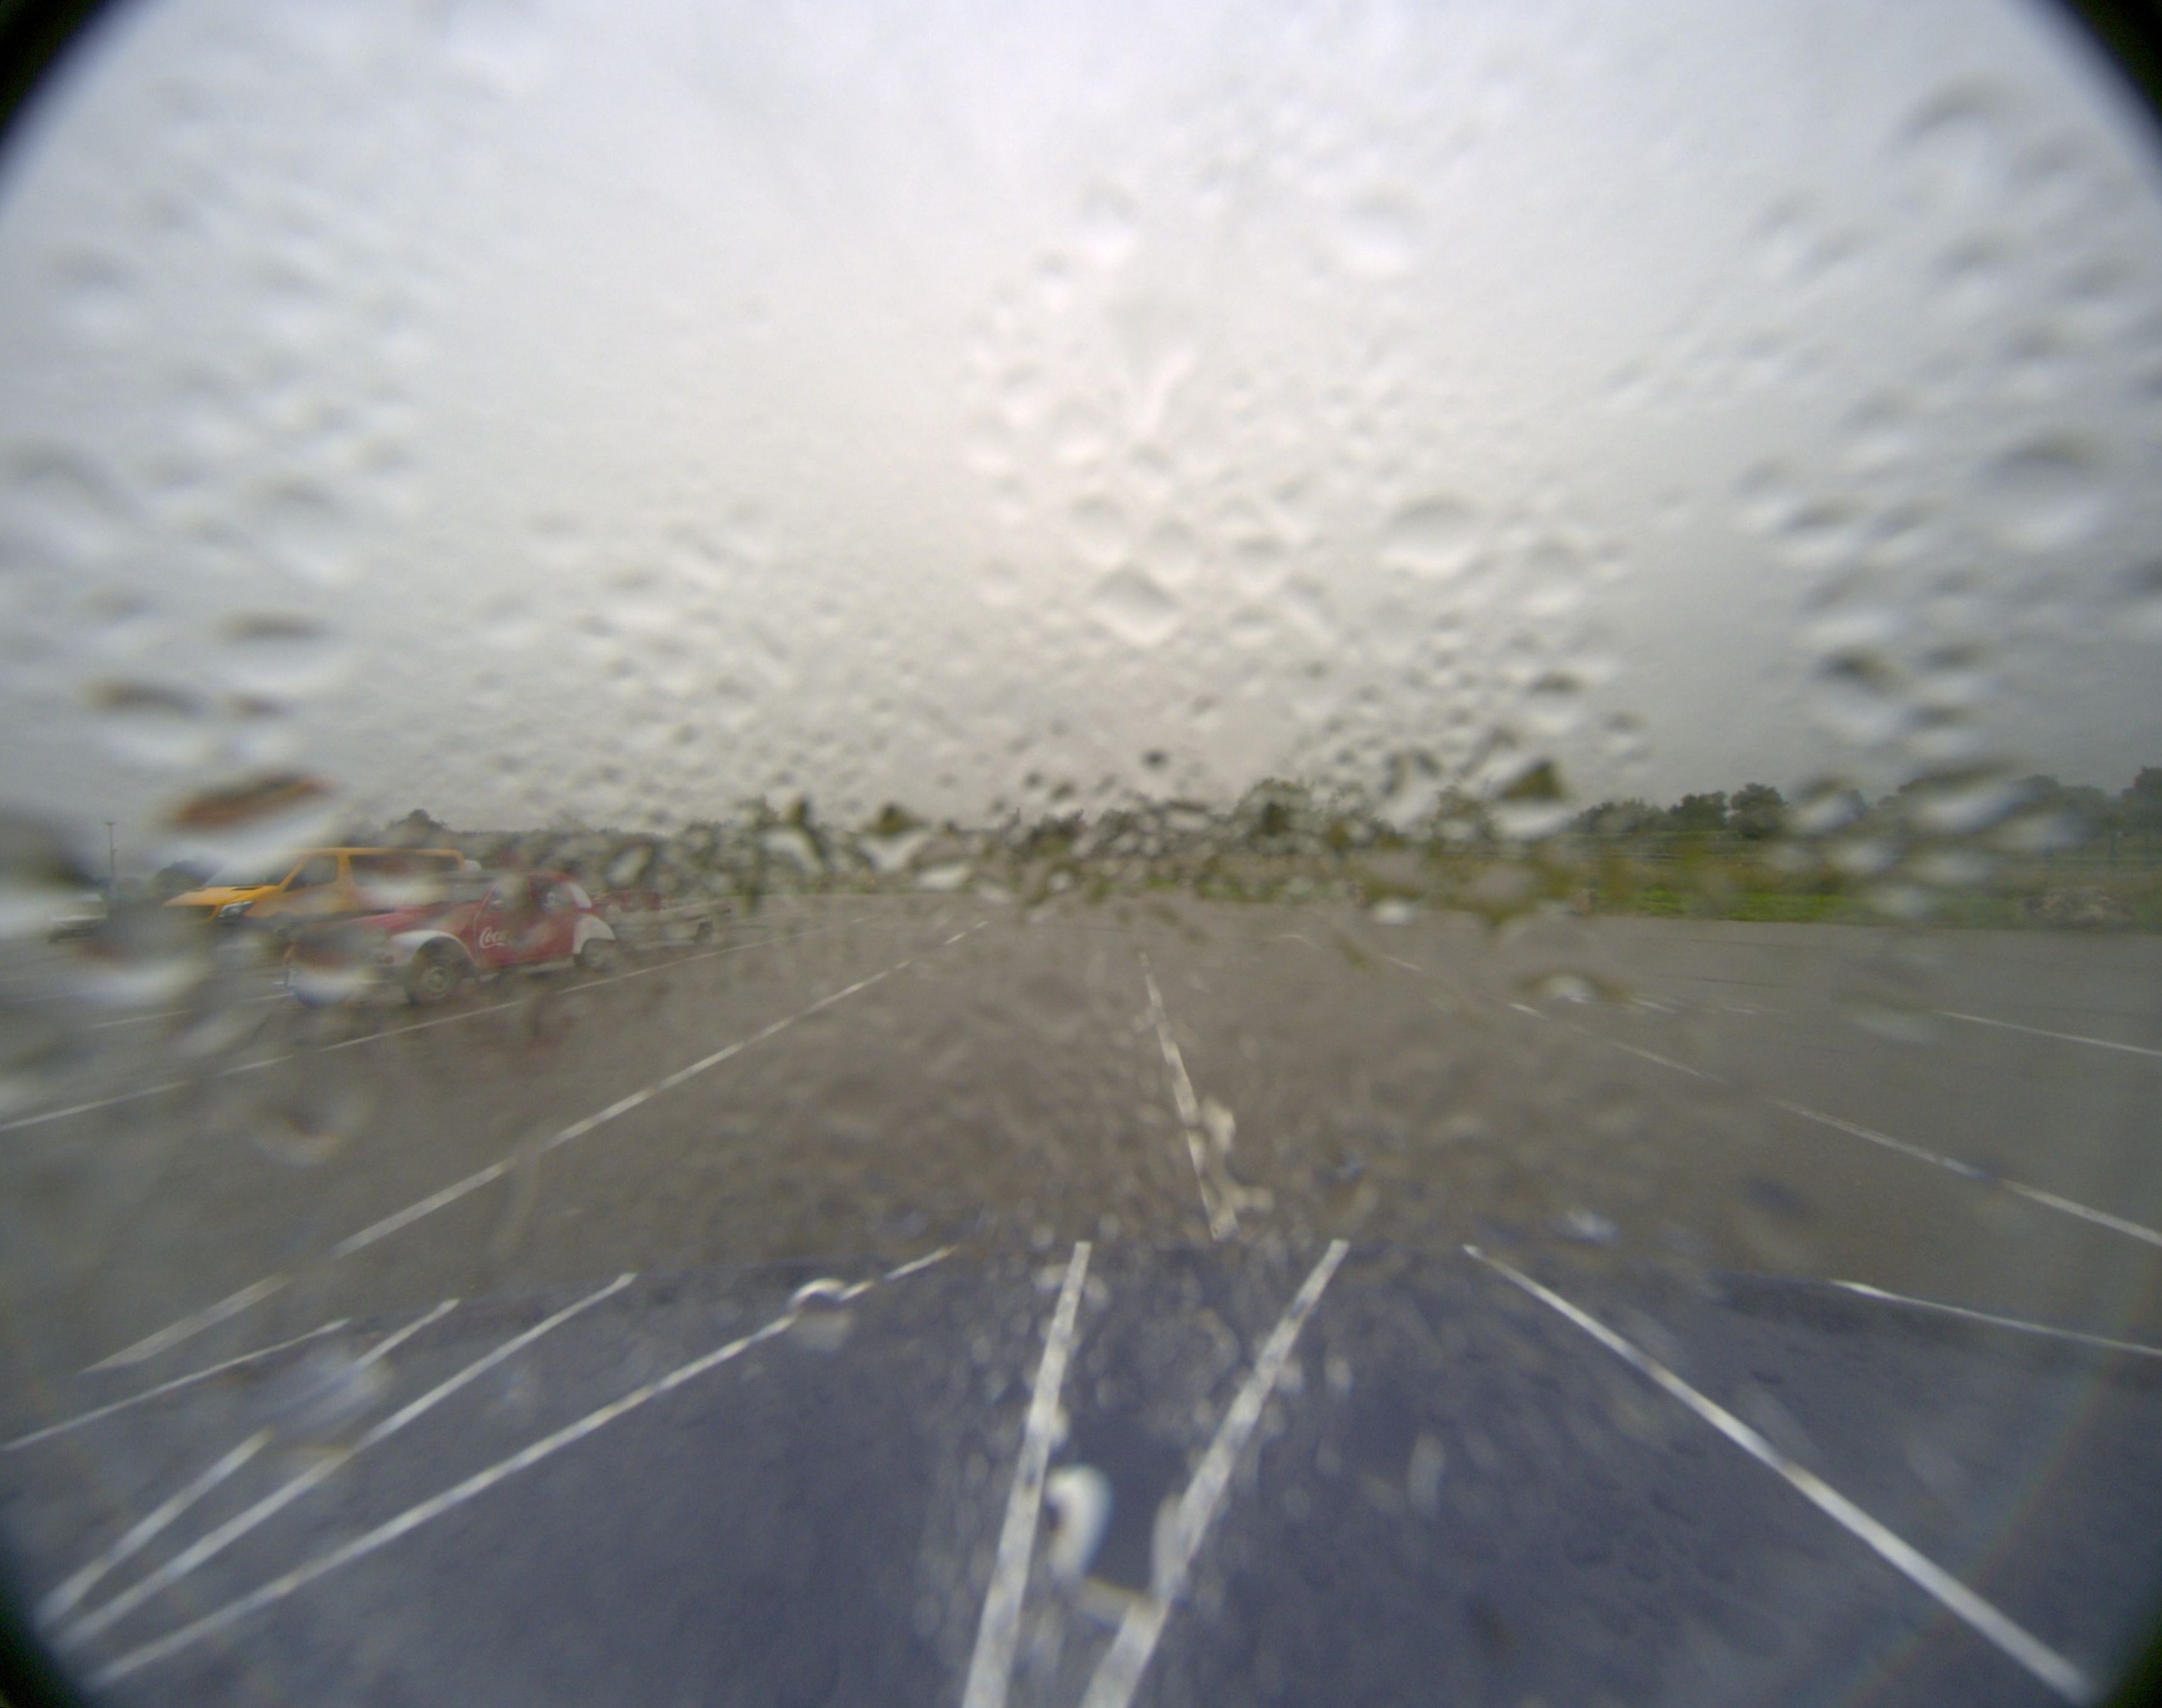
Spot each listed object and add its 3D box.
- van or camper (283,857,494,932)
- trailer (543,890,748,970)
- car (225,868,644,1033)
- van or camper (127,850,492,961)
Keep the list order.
[{"bbox_3d":[-28.246,1.508,31.516,1.998,2.700,7.069,0,0,3],"label":"van or camper"},{"bbox_3d":[-7.383,1.252,13.213,1.587,1.061,3.032,-2,0,6],"label":"trailer"},{"bbox_3d":[-7.671,1.015,9.646,1.548,1.546,4.058,-1,0,6],"label":"car"},{"bbox_3d":[-18.142,1.036,18.618,2.132,2.233,6.419,-1,0,3],"label":"van or camper"}]
